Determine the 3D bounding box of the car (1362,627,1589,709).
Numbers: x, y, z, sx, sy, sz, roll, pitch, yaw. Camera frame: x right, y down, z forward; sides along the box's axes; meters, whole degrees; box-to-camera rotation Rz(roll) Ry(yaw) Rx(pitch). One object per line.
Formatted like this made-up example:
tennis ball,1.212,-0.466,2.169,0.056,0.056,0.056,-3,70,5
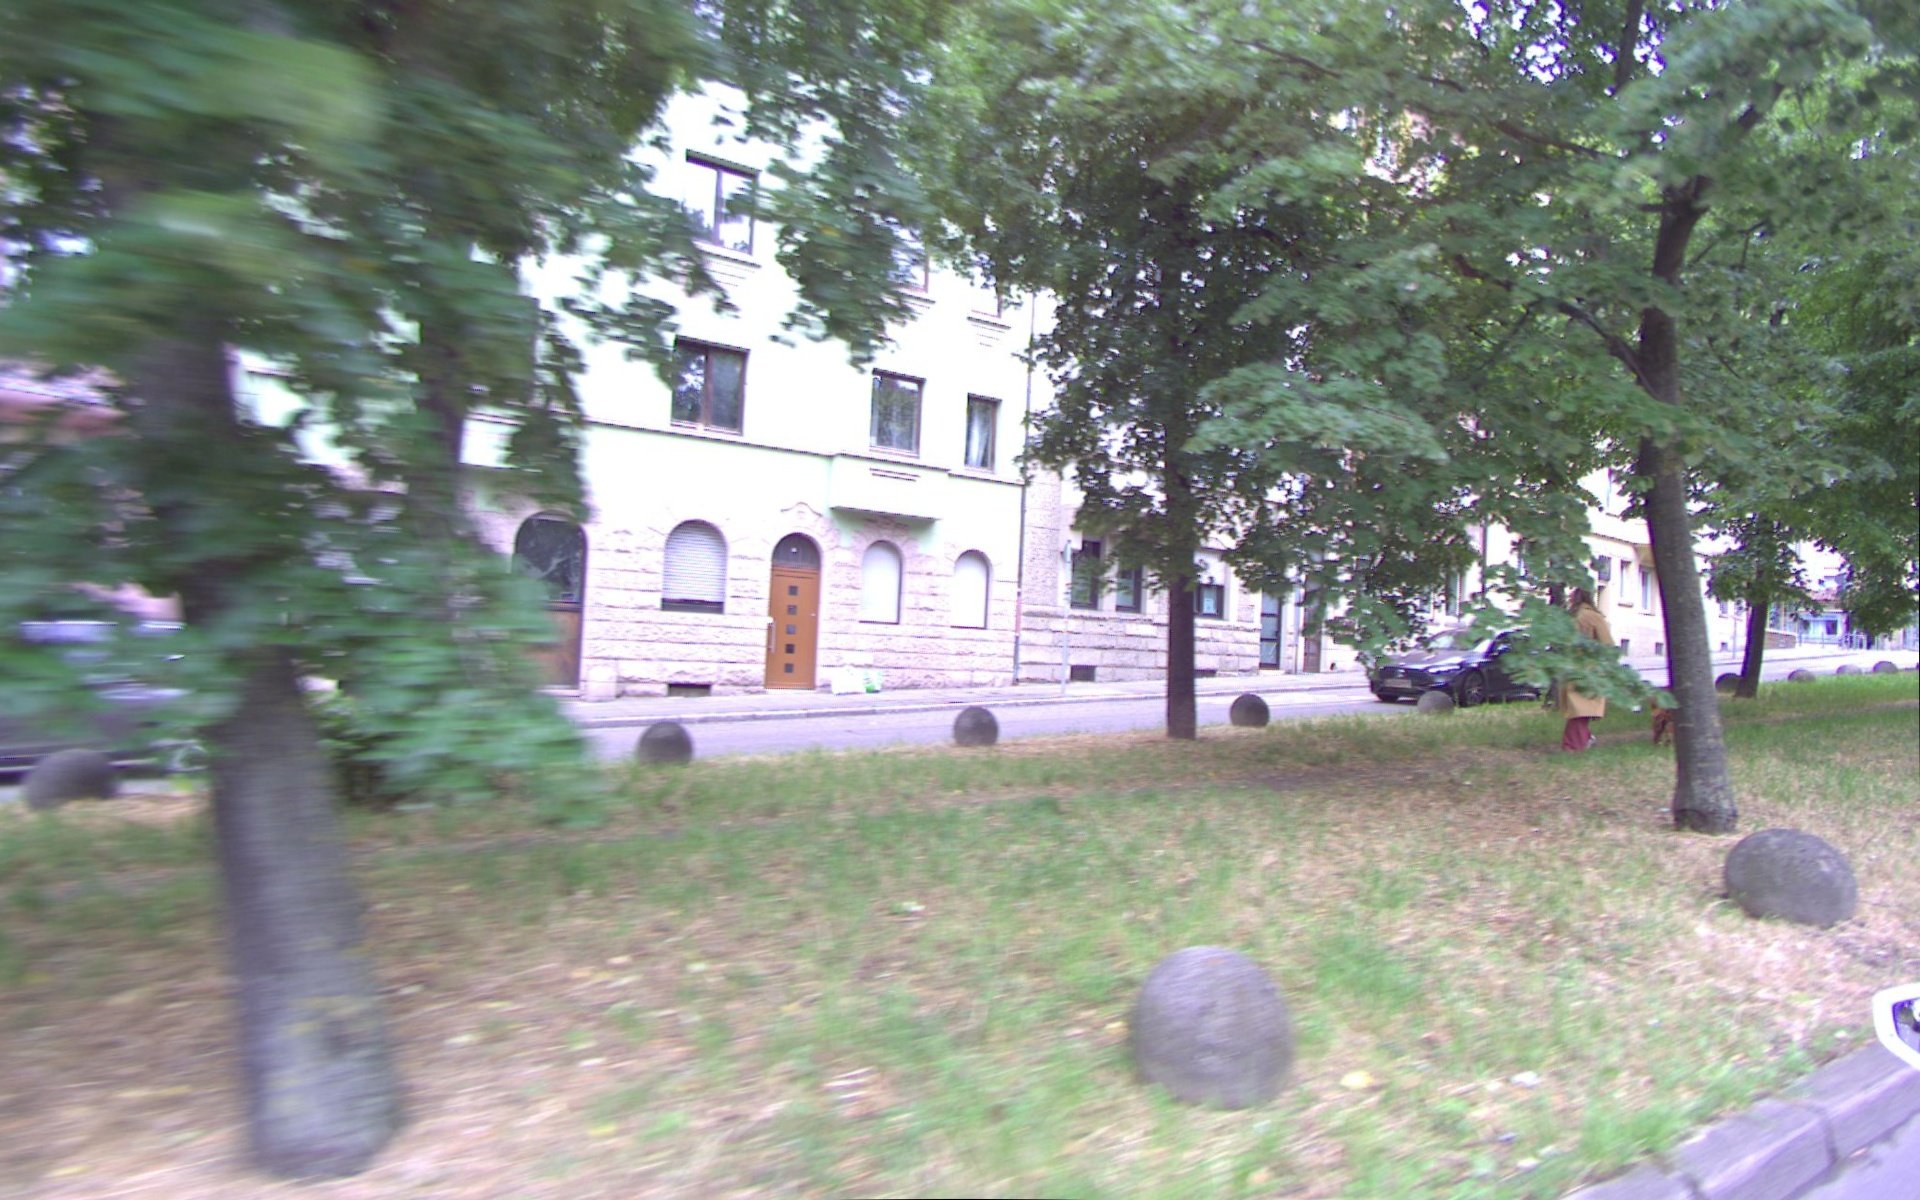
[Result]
car,10.171,1.266,19.738,4.613,1.400,1.750,0,-2,-30

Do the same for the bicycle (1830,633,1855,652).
bicycle,55.154,2.668,62.783,0.751,1.099,2.033,3,-1,31

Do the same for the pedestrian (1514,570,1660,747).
pedestrian,6.524,0.622,10.463,1.110,1.734,0.829,3,-5,-31

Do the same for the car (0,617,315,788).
car,-8.583,0.889,8.994,4.613,1.400,1.701,0,-2,-30
